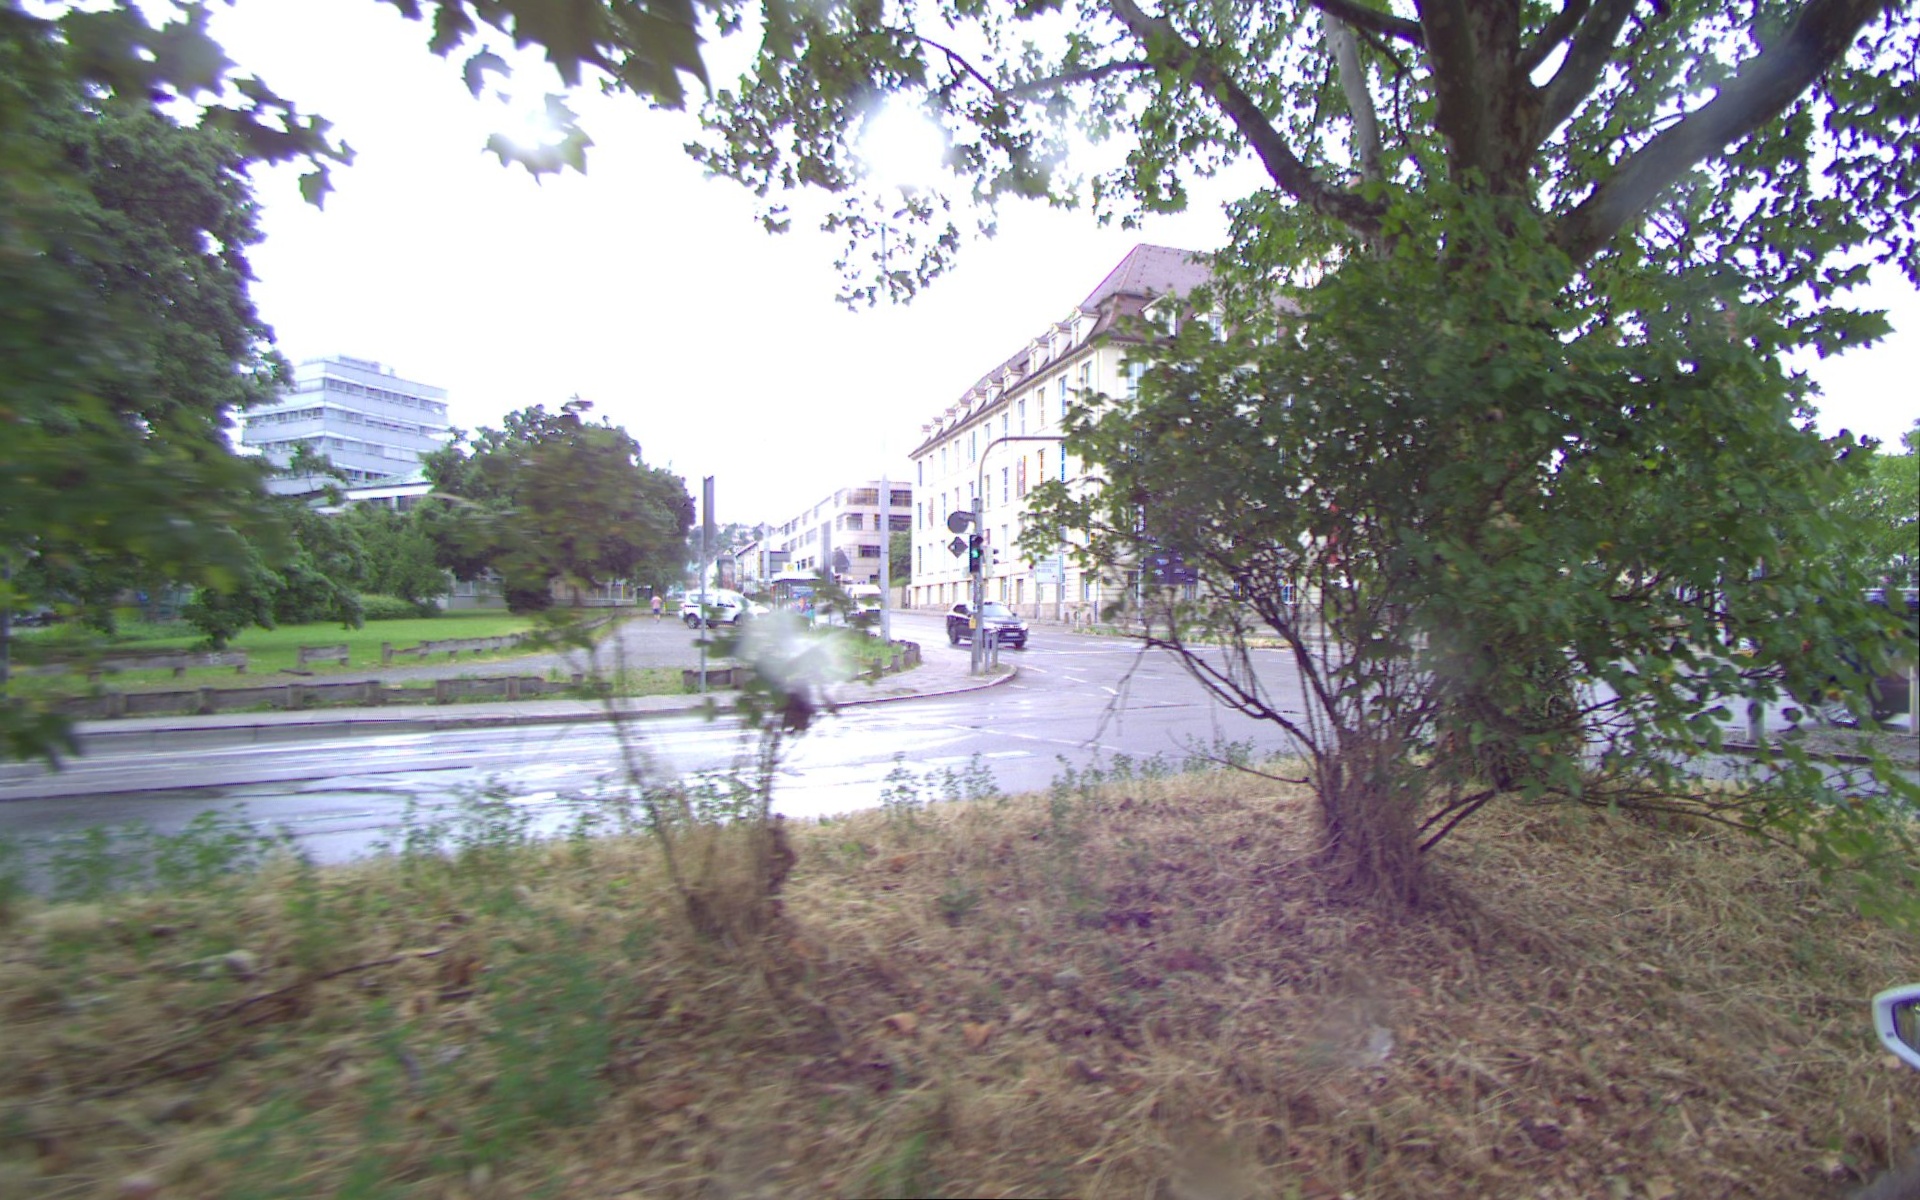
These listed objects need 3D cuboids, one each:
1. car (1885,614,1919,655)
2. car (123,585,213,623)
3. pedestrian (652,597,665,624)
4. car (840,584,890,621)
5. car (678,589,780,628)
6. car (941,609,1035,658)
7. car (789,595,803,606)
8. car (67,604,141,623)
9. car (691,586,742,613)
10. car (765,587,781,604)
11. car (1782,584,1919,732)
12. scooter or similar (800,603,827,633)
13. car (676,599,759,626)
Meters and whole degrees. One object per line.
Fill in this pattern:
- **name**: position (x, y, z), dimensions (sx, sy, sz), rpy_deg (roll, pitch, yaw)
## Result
- **car**: position (39.881, 1.415, 41.910), dimensions (1.847, 1.585, 4.251), rpy_deg (-1, -1, 43)
- **car**: position (-64.667, 0.308, 82.235), dimensions (3.541, 2.855, 6.441), rpy_deg (2, 0, -17)
- **pedestrian**: position (-17.362, 0.609, 57.929), dimensions (0.557, 1.549, 0.669), rpy_deg (2, 0, -8)
- **car**: position (-6.538, 0.138, 68.377), dimensions (1.969, 2.344, 5.902), rpy_deg (2, 0, -19)
- **car**: position (-10.856, 0.396, 47.147), dimensions (4.420, 1.791, 1.833), rpy_deg (0, -1, 24)
- **car**: position (0.967, 1.203, 38.033), dimensions (1.772, 1.728, 4.661), rpy_deg (0, 0, -24)
- **car**: position (-27.385, 0.078, 167.918), dimensions (1.815, 1.581, 3.985), rpy_deg (2, 1, -17)
- **car**: position (-59.762, 0.944, 70.181), dimensions (3.500, 1.158, 1.586), rpy_deg (2, 0, -18)
- **car**: position (-16.467, 0.024, 67.860), dimensions (1.838, 1.765, 4.029), rpy_deg (1, -1, -39)
- **car**: position (-30.734, -0.802, 164.834), dimensions (1.969, 2.652, 3.983), rpy_deg (2, 0, -19)
- **car**: position (13.678, 0.758, 13.124), dimensions (1.780, 1.933, 4.267), rpy_deg (0, 0, -35)
- **scooter or similar**: position (-6.000, 0.744, 41.186), dimensions (0.541, 1.182, 1.253), rpy_deg (2, 0, 20)
- **car**: position (-13.133, 0.682, 54.513), dimensions (3.993, 1.461, 1.855), rpy_deg (0, -1, 16)
